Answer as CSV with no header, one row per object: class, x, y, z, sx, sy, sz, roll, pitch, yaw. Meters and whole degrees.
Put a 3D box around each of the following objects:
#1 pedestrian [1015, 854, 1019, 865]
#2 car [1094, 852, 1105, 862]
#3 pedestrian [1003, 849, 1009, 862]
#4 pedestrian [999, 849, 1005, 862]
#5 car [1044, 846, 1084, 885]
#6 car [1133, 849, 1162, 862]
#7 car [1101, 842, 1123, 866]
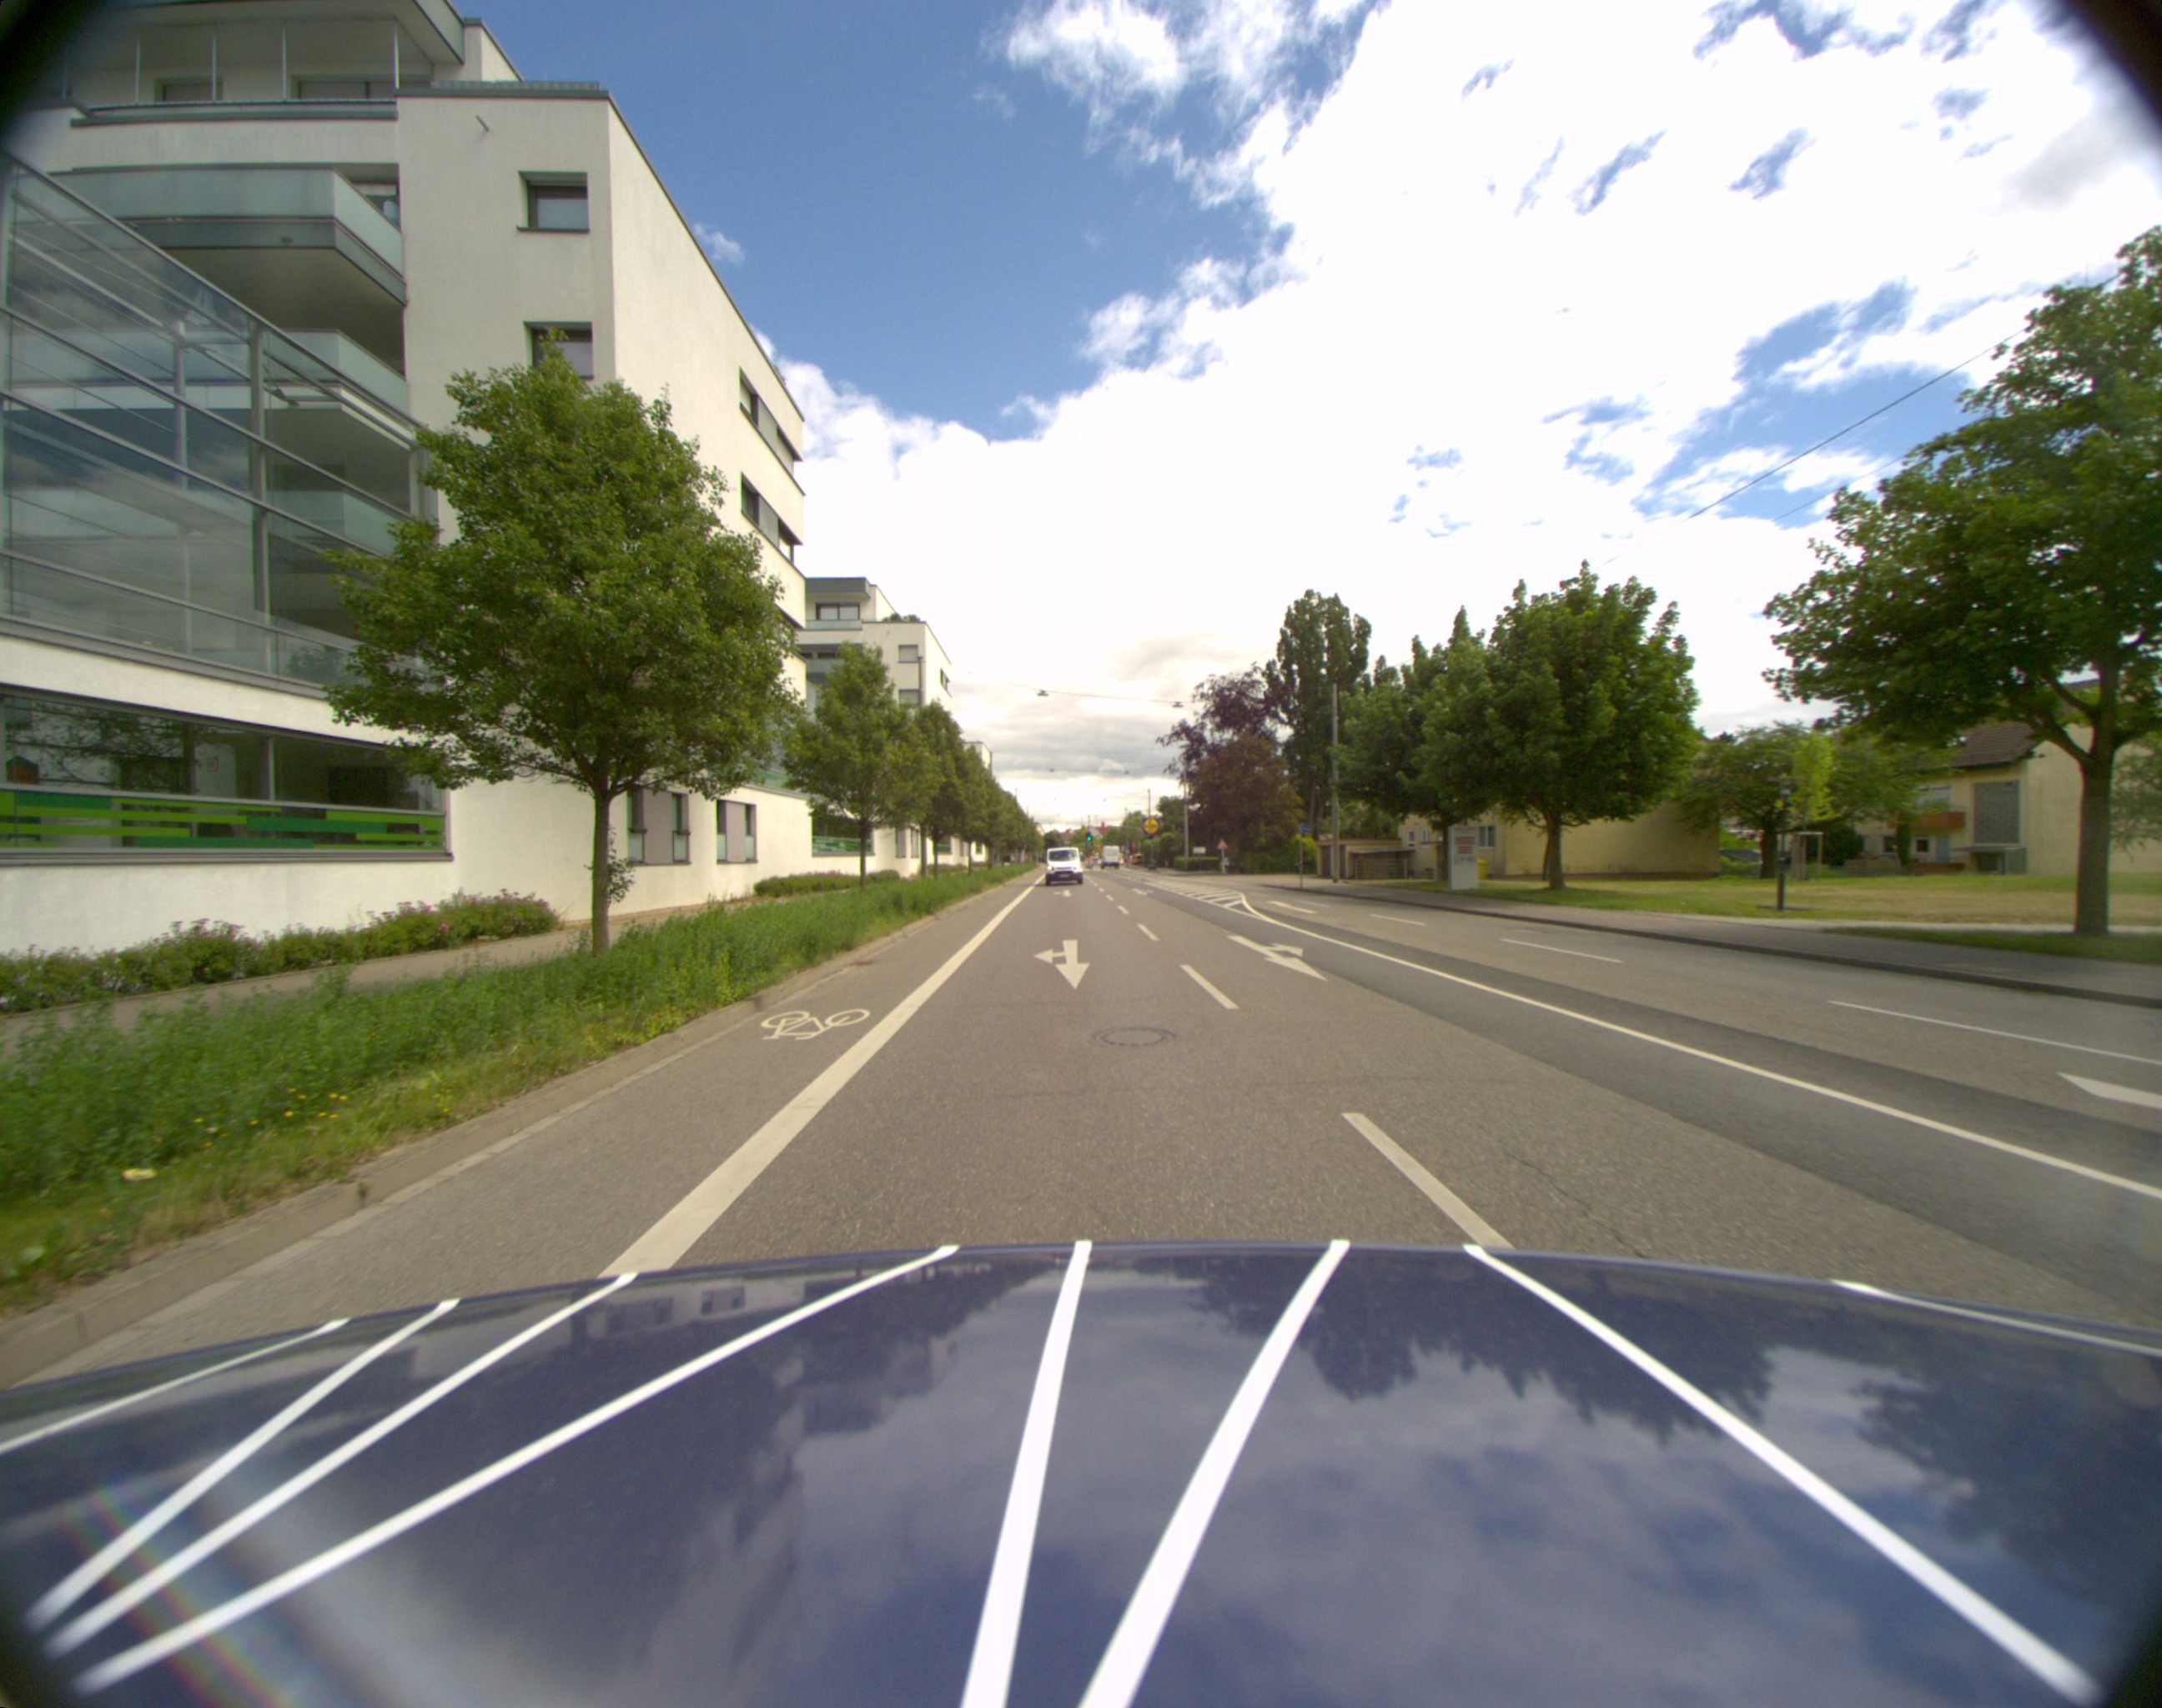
pedestrian,-9.858,0.815,116.531,0.559,1.649,0.607,-3,2,-2
car,3.030,0.543,127.842,1.611,1.510,3.239,2,1,-3
pedestrian,-10.712,0.205,108.725,0.742,1.875,0.701,-3,2,-4
pedestrian,-11.335,0.259,109.019,0.621,1.830,0.588,-3,2,-28
car,-0.927,0.568,41.330,1.999,1.905,3.998,-2,1,-2
car,10.438,0.217,119.560,4.000,1.774,1.998,-3,1,-10
car,3.867,0.028,94.933,2.149,2.803,6.146,1,0,-2
